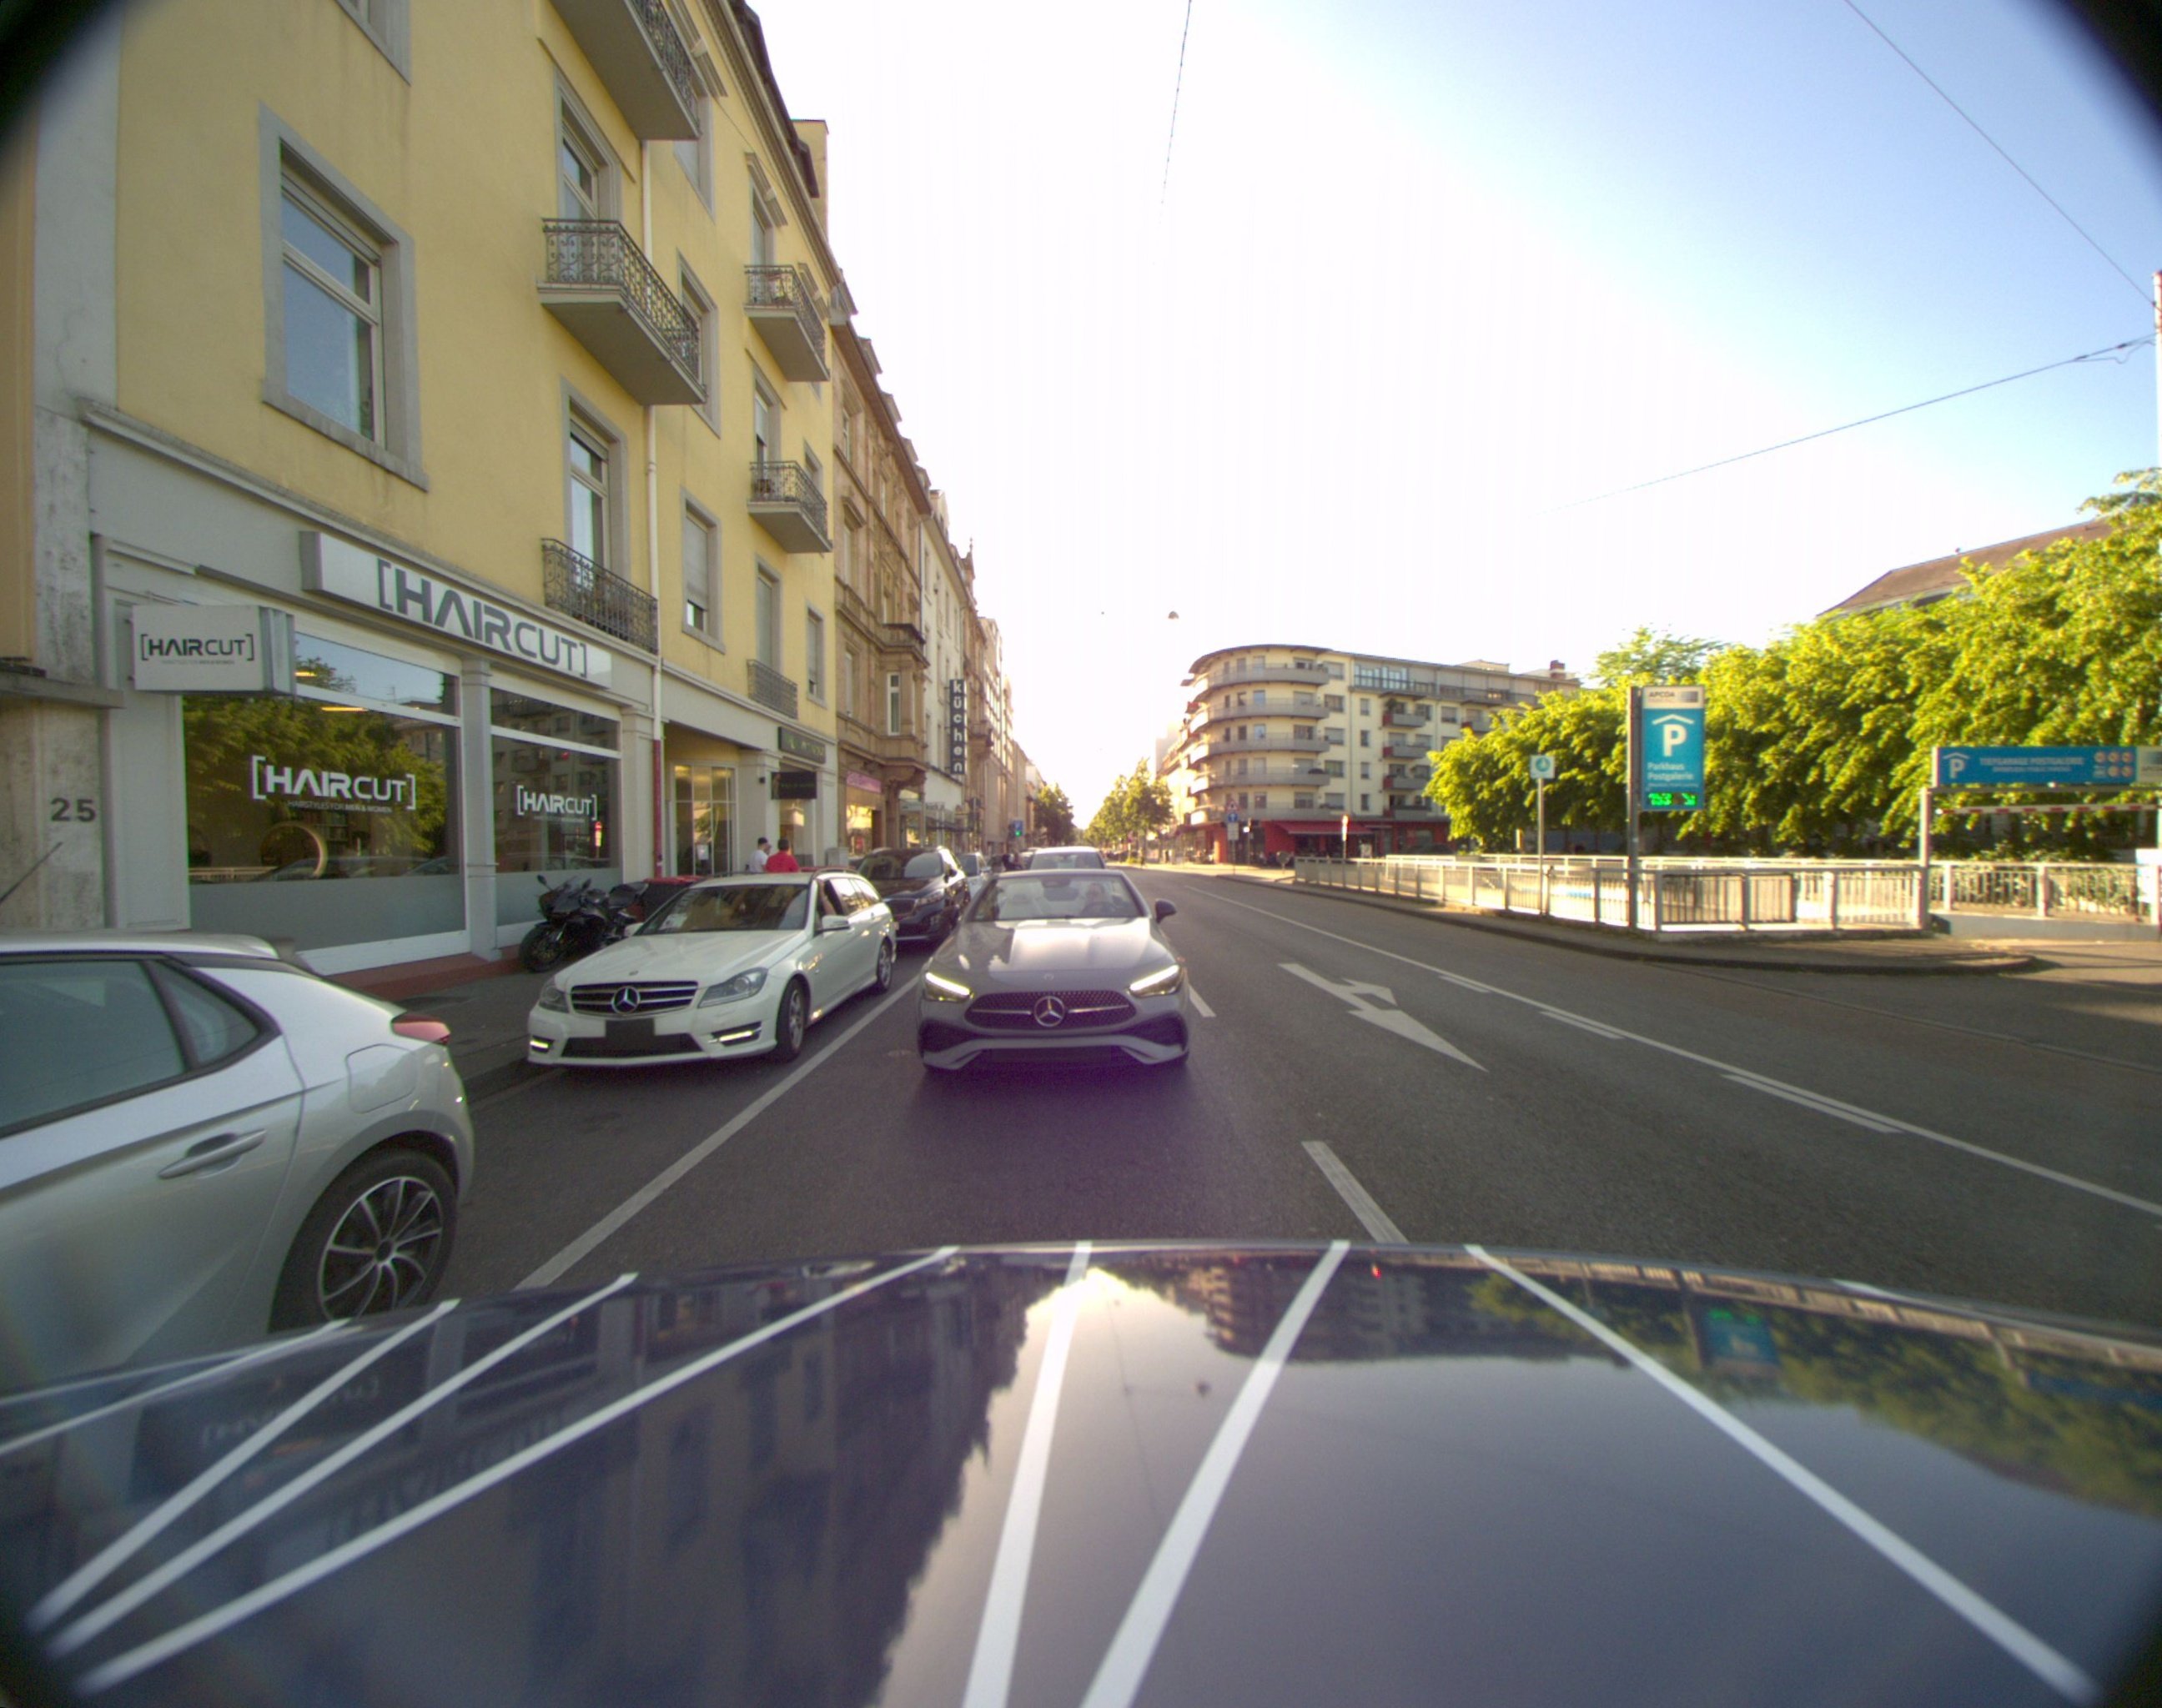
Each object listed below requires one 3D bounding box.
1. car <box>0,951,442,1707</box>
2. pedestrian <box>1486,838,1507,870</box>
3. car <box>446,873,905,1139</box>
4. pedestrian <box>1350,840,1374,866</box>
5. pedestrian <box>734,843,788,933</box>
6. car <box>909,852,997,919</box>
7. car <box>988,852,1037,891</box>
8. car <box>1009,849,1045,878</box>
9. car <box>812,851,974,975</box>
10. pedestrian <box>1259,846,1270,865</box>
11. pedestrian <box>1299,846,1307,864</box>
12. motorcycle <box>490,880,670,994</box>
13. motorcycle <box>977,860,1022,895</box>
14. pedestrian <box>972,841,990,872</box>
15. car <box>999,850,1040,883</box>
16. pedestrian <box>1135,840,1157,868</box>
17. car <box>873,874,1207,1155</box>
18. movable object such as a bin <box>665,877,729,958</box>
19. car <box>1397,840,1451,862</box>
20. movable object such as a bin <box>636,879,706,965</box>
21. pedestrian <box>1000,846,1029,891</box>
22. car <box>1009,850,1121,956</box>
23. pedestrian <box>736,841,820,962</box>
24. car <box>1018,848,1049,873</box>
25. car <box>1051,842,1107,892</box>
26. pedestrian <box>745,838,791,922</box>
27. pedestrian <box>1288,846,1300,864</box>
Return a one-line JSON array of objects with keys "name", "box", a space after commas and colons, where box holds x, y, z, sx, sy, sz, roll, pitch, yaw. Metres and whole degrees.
[{"name": "car", "box": [-3.013, 1.068, 0.754, 1.654, 1.390, 3.704, -1, 1, -2]}, {"name": "pedestrian", "box": [24.393, 0.002, 44.571, 0.755, 1.795, 0.756, -2, 1, -15]}, {"name": "car", "box": [-3.045, 1.003, 7.022, 1.759, 1.453, 4.597, -1, 1, -1]}, {"name": "pedestrian", "box": [22.620, -0.072, 61.226, 1.234, 2.002, 1.259, -2, 1, -22]}, {"name": "pedestrian", "box": [-5.856, 0.606, 13.946, 0.642, 1.607, 0.700, -1, 1, -1]}, {"name": "car", "box": [-3.276, 0.773, 19.947, 1.696, 1.559, 3.018, -1, 1, 1]}, {"name": "car", "box": [-2.884, 0.689, 32.555, 1.715, 1.477, 3.999, -1, 1, 0]}, {"name": "car", "box": [-2.988, 0.508, 42.822, 1.715, 1.477, 3.999, -1, 1, 0]}, {"name": "car", "box": [-2.990, 0.825, 13.146, 1.858, 1.688, 4.696, -1, 1, -4]}, {"name": "pedestrian", "box": [15.027, 0.118, 62.109, 0.791, 1.452, 0.583, -1, 1, 10]}, {"name": "pedestrian", "box": [17.925, 0.082, 61.340, 0.581, 1.481, 0.793, -1, 1, 13]}, {"name": "motorcycle", "box": [-6.234, 0.968, 9.651, 0.773, 1.158, 2.247, 1, 1, 1]}, {"name": "motorcycle", "box": [-3.049, 0.877, 28.614, 0.769, 1.225, 1.546, 0, 1, 42]}, {"name": "pedestrian", "box": [-5.331, 0.136, 40.546, 0.795, 1.607, 0.763, -1, 1, -1]}, {"name": "car", "box": [-3.052, 0.585, 38.305, 1.715, 1.477, 3.999, -1, 1, 0]}, {"name": "pedestrian", "box": [4.801, -0.017, 56.224, 1.201, 2.002, 1.019, -2, 1, -24]}, {"name": "car", "box": [-0.251, 0.965, 6.434, 1.849, 1.371, 4.255, -2, 1, -1]}, {"name": "movable object such as a bin", "box": [-6.033, 0.985, 11.965, 0.647, 1.200, 0.644, -1, 1, 1]}, {"name": "car", "box": [29.006, -0.231, 64.301, 4.004, 1.740, 1.996, -2, 1, -23]}, {"name": "movable object such as a bin", "box": [-6.082, 0.998, 11.313, 0.647, 1.200, 0.644, -1, 1, 1]}, {"name": "pedestrian", "box": [-2.491, 0.551, 28.598, 0.833, 1.657, 0.694, -1, 1, 17]}, {"name": "car", "box": [-0.228, 0.765, 14.007, 1.716, 1.599, 3.999, -1, 1, 1]}, {"name": "pedestrian", "box": [-4.726, 0.707, 11.917, 0.866, 1.774, 1.008, 2, 2, -2]}, {"name": "car", "box": [-3.037, 0.397, 49.416, 1.715, 1.477, 4.062, -1, 1, 0]}, {"name": "car", "box": [-0.048, 0.439, 29.308, 1.952, 1.742, 3.999, -1, 1, 1]}, {"name": "pedestrian", "box": [-6.109, 0.497, 14.860, 0.572, 1.607, 0.643, -1, 1, 2]}, {"name": "pedestrian", "box": [17.663, 0.050, 62.994, 0.583, 1.453, 0.790, -2, 2, -37]}]
